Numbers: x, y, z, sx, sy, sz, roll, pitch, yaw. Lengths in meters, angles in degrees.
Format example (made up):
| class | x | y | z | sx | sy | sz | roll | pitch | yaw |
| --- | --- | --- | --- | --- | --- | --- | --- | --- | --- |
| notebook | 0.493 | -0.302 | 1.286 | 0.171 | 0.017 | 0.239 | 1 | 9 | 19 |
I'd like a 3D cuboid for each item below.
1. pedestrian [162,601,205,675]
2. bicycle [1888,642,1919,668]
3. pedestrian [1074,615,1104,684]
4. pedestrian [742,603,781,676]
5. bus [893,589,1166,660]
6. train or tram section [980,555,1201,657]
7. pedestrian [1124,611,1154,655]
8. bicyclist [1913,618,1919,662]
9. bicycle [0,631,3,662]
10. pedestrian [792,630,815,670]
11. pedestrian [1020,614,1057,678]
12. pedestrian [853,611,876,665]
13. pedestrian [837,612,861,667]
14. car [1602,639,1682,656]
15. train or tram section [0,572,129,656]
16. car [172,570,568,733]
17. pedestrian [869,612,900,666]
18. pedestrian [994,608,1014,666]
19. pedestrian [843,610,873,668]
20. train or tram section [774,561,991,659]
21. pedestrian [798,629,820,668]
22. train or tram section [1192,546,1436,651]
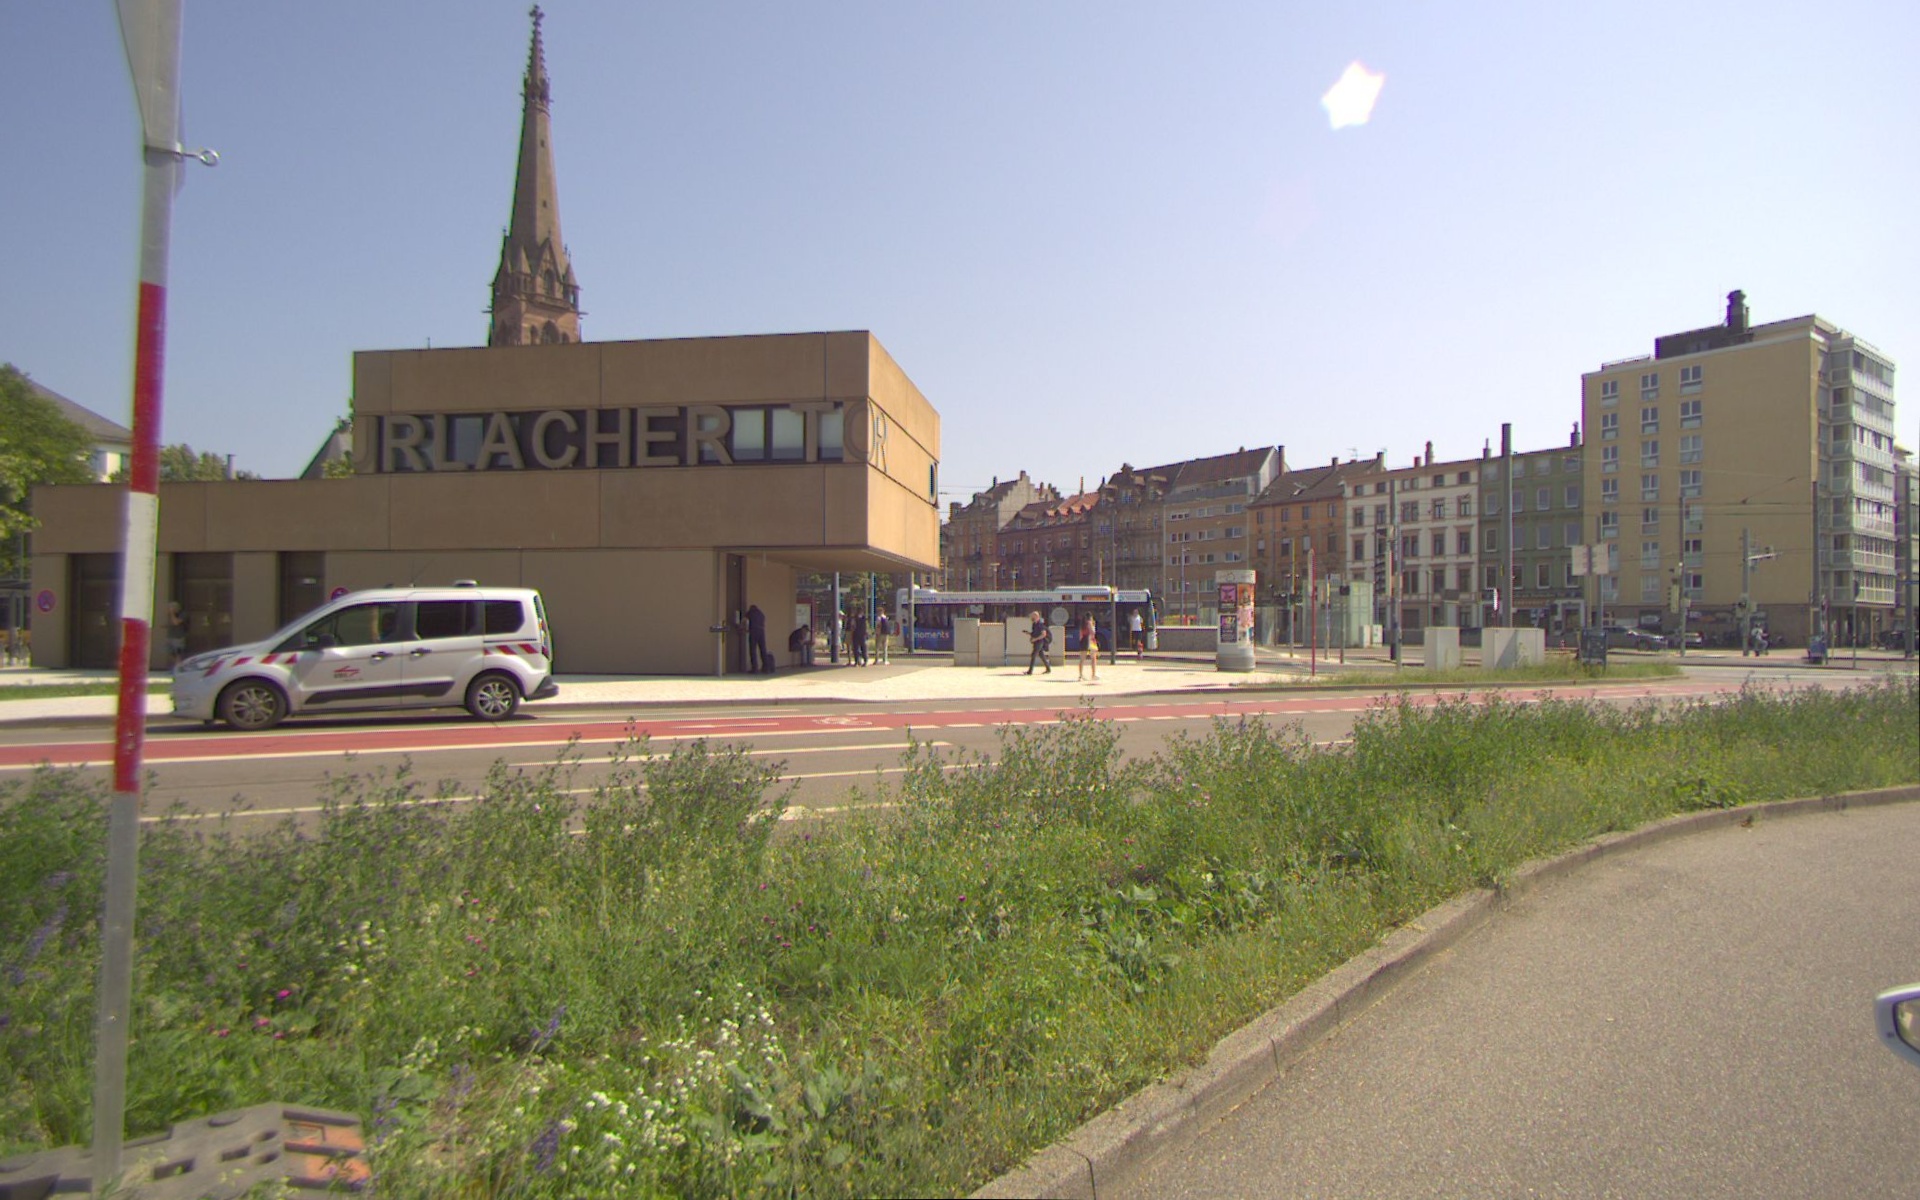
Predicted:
| class | x | y | z | sx | sy | sz | roll | pitch | yaw |
| --- | --- | --- | --- | --- | --- | --- | --- | --- | --- |
| pedestrian | -18.134 | 0.882 | 23.466 | 0.525 | 1.700 | 0.569 | 0 | -2 | 8 |
| bicycle | 36.236 | 2.062 | 37.405 | 0.598 | 0.966 | 2.393 | 2 | -2 | -35 |
| pedestrian | 3.335 | 1.261 | 25.984 | 0.615 | 1.725 | 0.787 | 1 | 0 | 19 |
| pedestrian | -4.734 | 0.935 | 23.928 | 0.738 | 1.711 | 0.628 | 1 | -2 | -28 |
| bus | 3.222 | 1.112 | 46.456 | 12.229 | 3.111 | 3.109 | 0 | -2 | 9 |
| train or tram section | 4.981 | 0.318 | 38.689 | 8.077 | 3.616 | 3.148 | -1 | -3 | 8 |
| pedestrian | 7.838 | 1.440 | 43.956 | 1.284 | 1.910 | 1.039 | 0 | -2 | 11 |
| bicyclist | 36.210 | 1.495 | 37.477 | 0.601 | 1.664 | 0.833 | 2 | -1 | -35 |
| bicycle | -32.983 | 1.562 | 33.691 | 1.607 | 1.054 | 0.413 | 0 | -2 | 11 |
| pedestrian | -4.352 | 1.388 | 27.897 | 0.490 | 1.098 | 0.541 | 0 | -1 | 8 |
| pedestrian | 2.132 | 1.254 | 27.398 | 0.798 | 1.725 | 0.642 | 1 | -2 | -24 |
| pedestrian | -2.934 | 1.171 | 30.932 | 0.560 | 1.635 | 0.491 | 0 | -1 | 18 |
| pedestrian | -3.317 | 1.171 | 30.103 | 0.501 | 1.635 | 0.490 | 0 | -2 | 32 |
| car | 42.612 | 2.932 | 62.809 | 1.702 | 1.000 | 3.850 | 2 | -2 | -40 |
| train or tram section | -43.200 | 0.739 | 45.967 | 8.353 | 3.644 | 3.165 | -1 | -3 | 9 |
| car | -7.707 | 0.698 | 13.534 | 4.283 | 1.884 | 1.985 | 1 | -4 | -30 |
| pedestrian | -2.363 | 1.224 | 31.495 | 0.798 | 1.691 | 0.548 | 1 | -2 | -25 |
| pedestrian | 1.378 | 1.171 | 31.876 | 0.541 | 1.786 | 0.697 | 1 | -1 | -5 |
| pedestrian | -2.940 | 1.122 | 28.941 | 0.679 | 1.635 | 0.639 | 0 | -1 | 14 |
| train or tram section | -2.979 | 0.486 | 39.864 | 8.077 | 3.616 | 3.148 | -1 | -3 | 8 |
| pedestrian | -4.276 | 1.361 | 28.459 | 0.490 | 1.098 | 0.541 | 0 | -1 | 8 |
| train or tram section | 12.952 | 0.050 | 37.528 | 8.077 | 3.616 | 3.148 | -1 | -3 | 8 |
